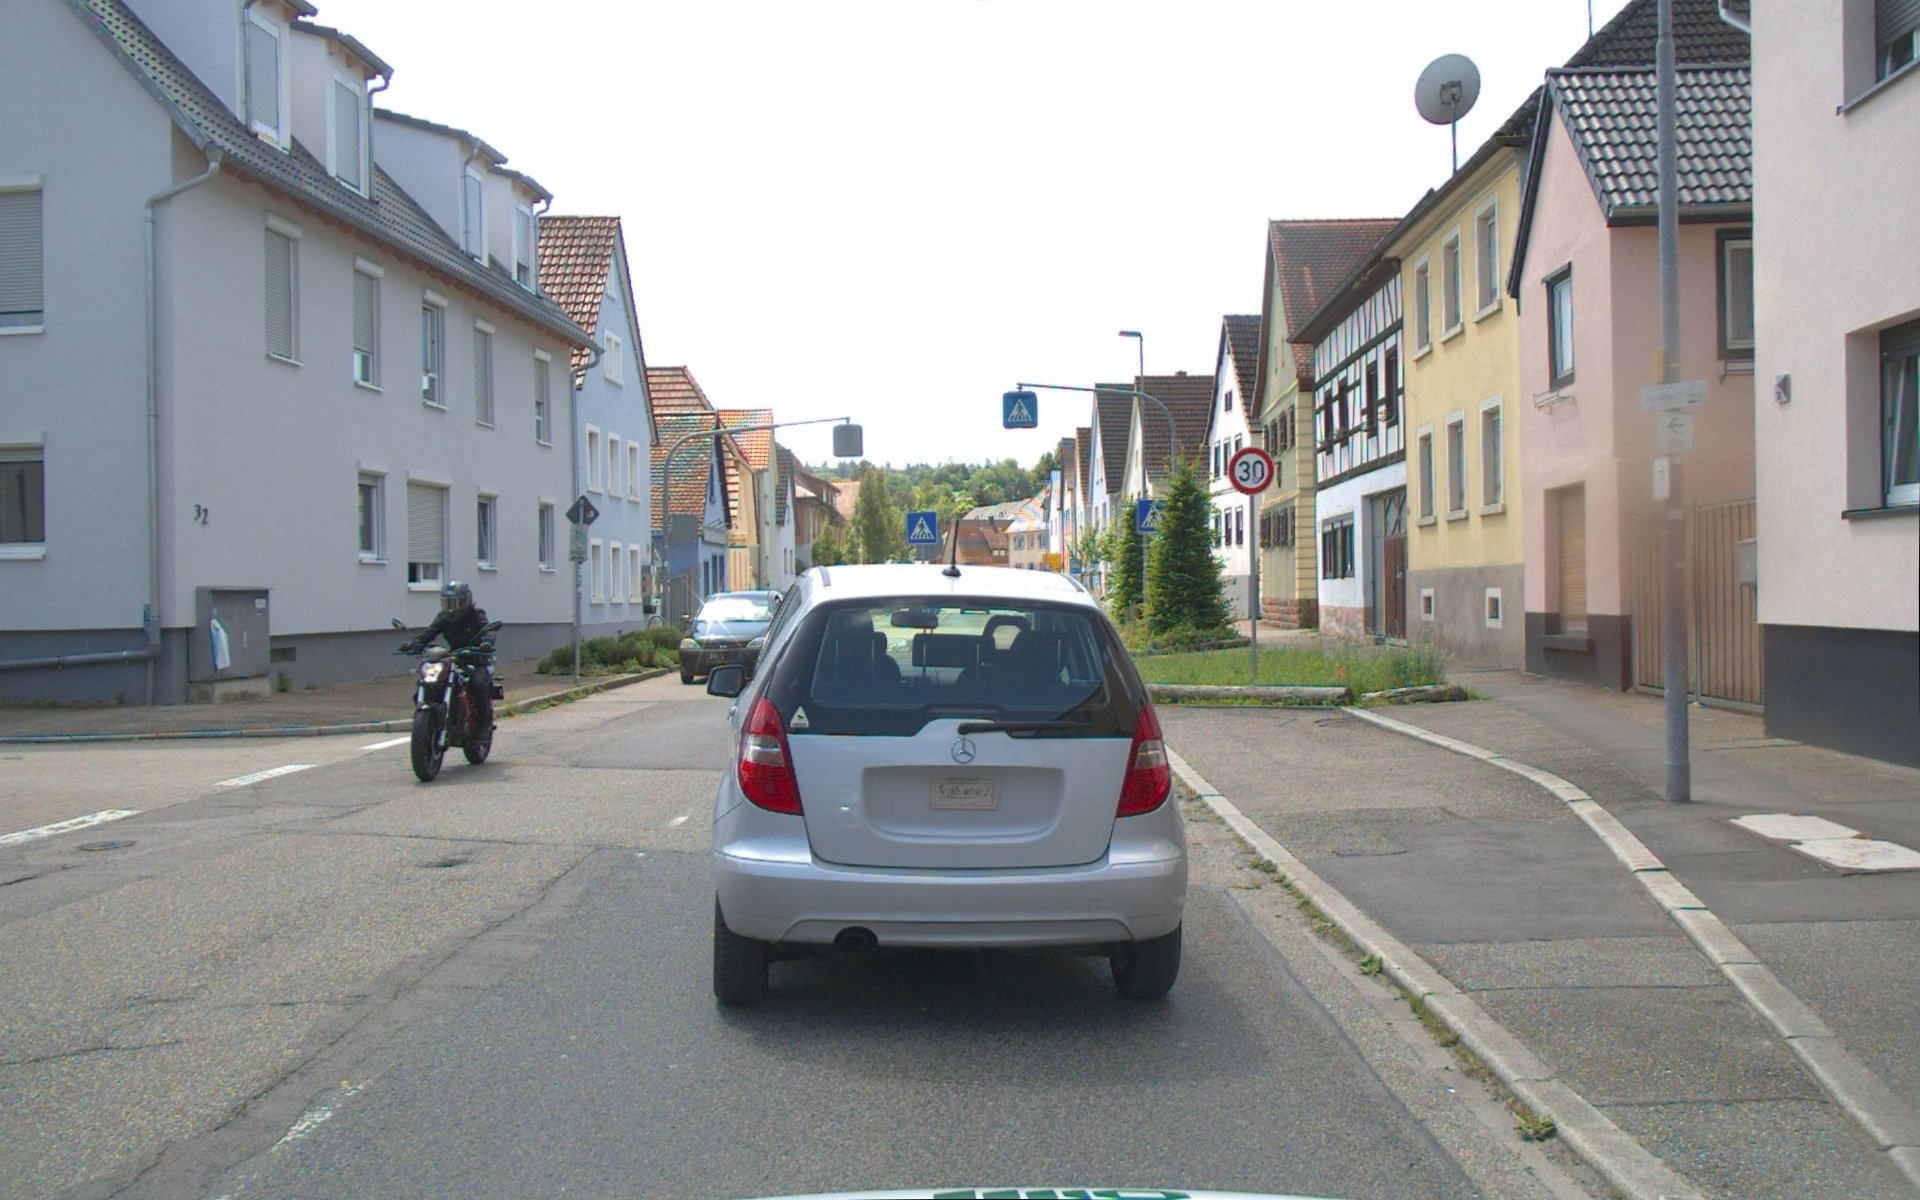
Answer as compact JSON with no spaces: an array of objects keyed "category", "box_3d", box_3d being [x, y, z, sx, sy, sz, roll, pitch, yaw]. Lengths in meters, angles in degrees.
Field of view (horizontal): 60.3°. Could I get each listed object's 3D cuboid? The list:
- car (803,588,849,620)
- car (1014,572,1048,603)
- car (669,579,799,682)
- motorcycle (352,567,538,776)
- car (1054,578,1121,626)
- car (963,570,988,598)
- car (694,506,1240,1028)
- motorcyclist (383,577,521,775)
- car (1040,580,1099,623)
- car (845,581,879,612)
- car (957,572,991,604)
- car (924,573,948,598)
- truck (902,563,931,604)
[{"category":"car","box_3d":[-5.920,0.191,72.911,1.955,1.344,3.704,0,-2,-5]},{"category":"car","box_3d":[4.501,-0.767,105.806,1.953,1.848,3.998,0,-2,-1]},{"category":"car","box_3d":[-3.677,0.515,27.451,1.469,1.567,3.857,1,-1,2]},{"category":"motorcycle","box_3d":[-4.155,0.531,13.516,0.862,1.588,1.968,0,1,1]},{"category":"car","box_3d":[4.234,0.094,55.538,1.953,1.534,3.999,0,-2,0]},{"category":"car","box_3d":[1.245,-1.250,131.645,1.953,2.049,3.999,0,-2,0]},{"category":"car","box_3d":[-0.179,0.557,7.273,1.776,1.672,3.723,1,0,-7]},{"category":"motorcyclist","box_3d":[-4.152,0.601,13.576,0.878,1.582,0.807,0,0,0]},{"category":"car","box_3d":[4.110,0.095,62.368,1.953,1.534,3.999,0,-2,0]},{"category":"car","box_3d":[-5.409,-0.193,91.847,1.633,1.624,3.999,0,-2,0]},{"category":"car","box_3d":[0.837,-0.698,101.713,1.953,1.848,3.998,0,-2,-1]},{"category":"car","box_3d":[-2.104,-1.233,145.179,1.952,2.049,4.000,0,-2,1]},{"category":"truck","box_3d":[-2.957,-1.086,113.683,1.953,2.581,6.737,0,-2,-1]}]
